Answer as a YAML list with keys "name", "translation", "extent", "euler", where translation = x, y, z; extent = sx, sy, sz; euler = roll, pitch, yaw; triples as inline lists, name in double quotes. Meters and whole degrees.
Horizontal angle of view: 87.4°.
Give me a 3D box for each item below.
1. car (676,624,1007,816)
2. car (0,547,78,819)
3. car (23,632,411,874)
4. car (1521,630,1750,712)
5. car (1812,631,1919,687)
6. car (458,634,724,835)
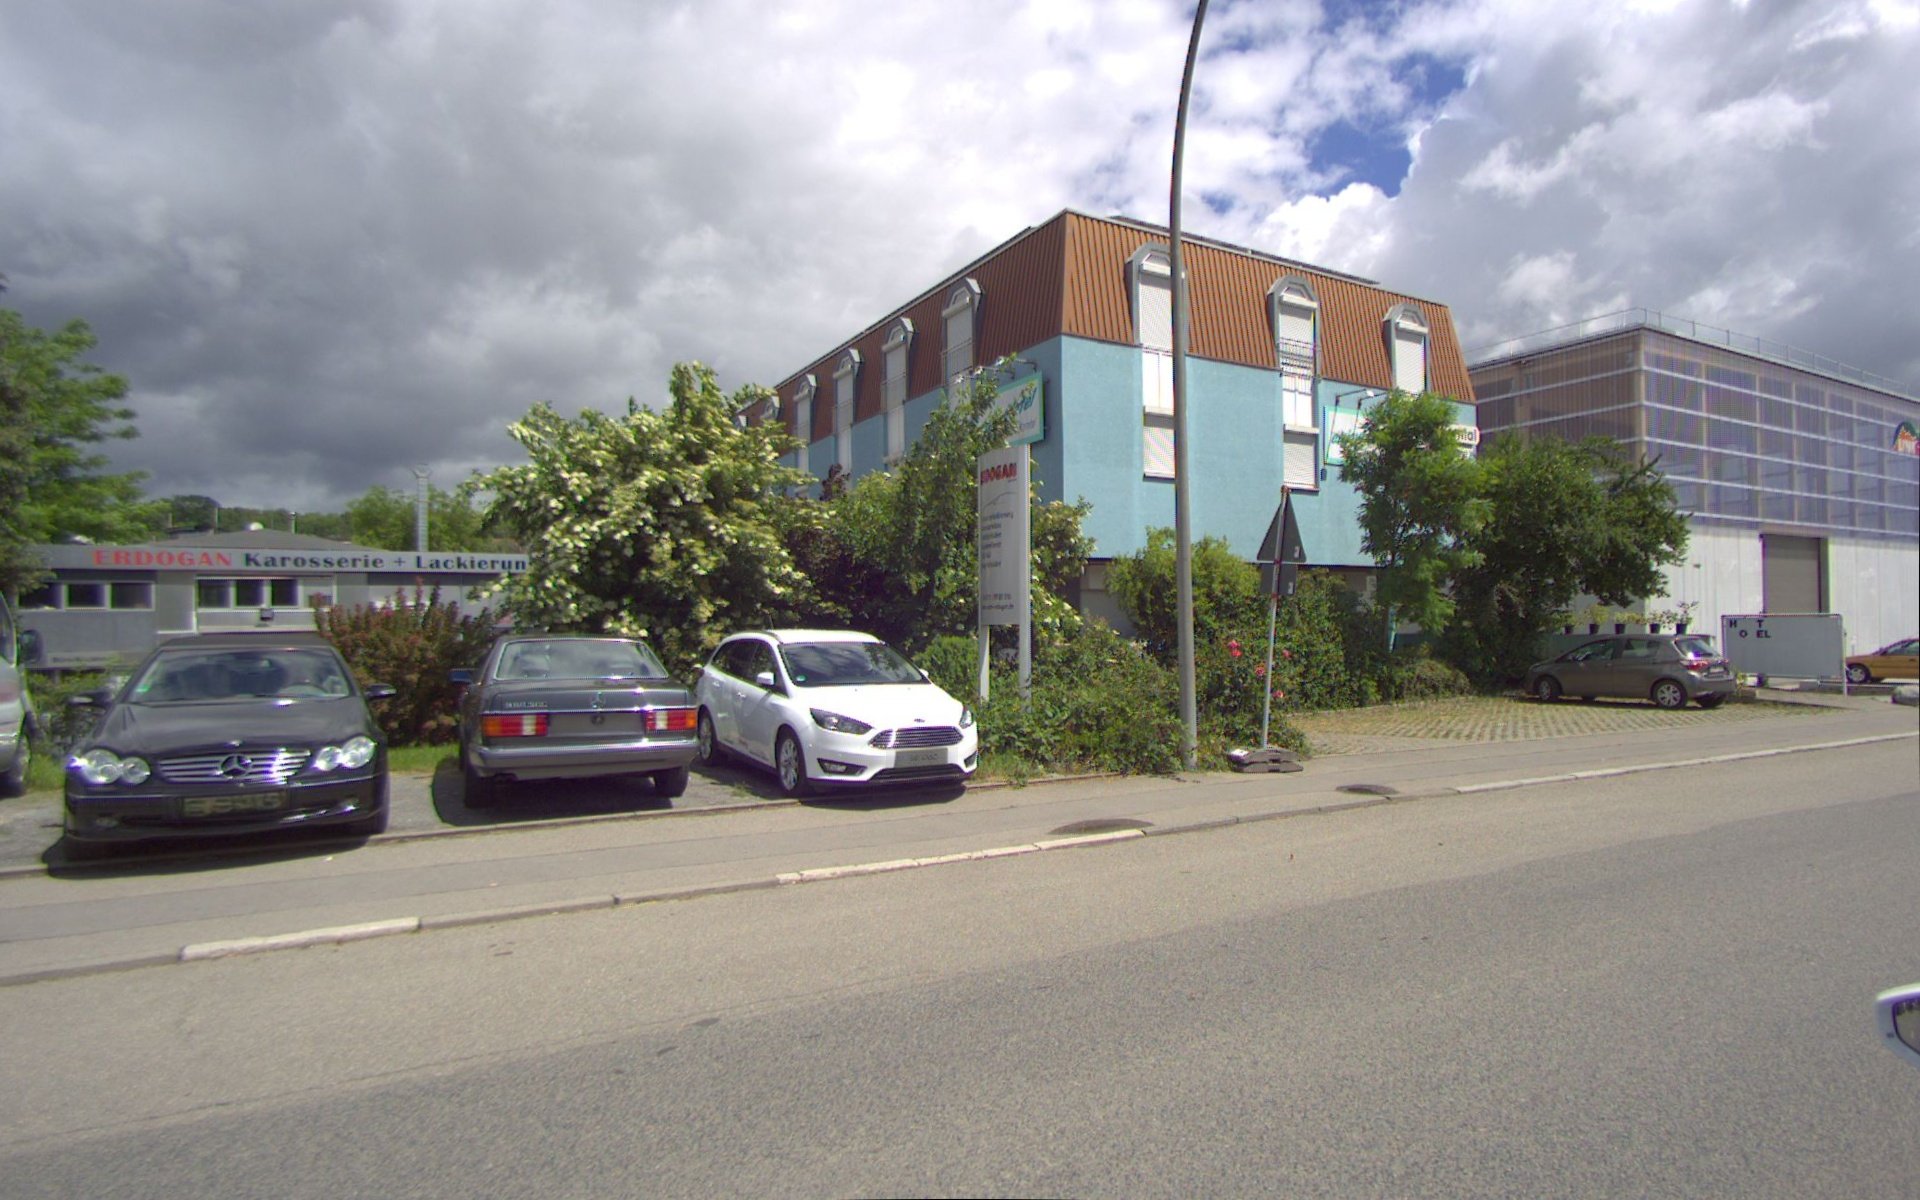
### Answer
- name: "car"
  translation: [-1.446, 1.031, 10.251]
  extent: [1.849, 1.498, 4.356]
  euler: [2, -3, -29]
- name: "car"
  translation: [-8.137, 0.617, 7.139]
  extent: [2.092, 1.998, 4.625]
  euler: [0, -2, -33]
- name: "car"
  translation: [-5.362, 0.919, 7.736]
  extent: [1.850, 1.332, 3.968]
  euler: [2, -2, -31]
- name: "car"
  translation: [14.381, 1.442, 21.588]
  extent: [1.954, 1.553, 3.615]
  euler: [0, -2, -27]
- name: "car"
  translation: [28.474, 1.781, 30.098]
  extent: [1.806, 1.512, 4.126]
  euler: [0, 1, -33]
- name: "car"
  translation: [-3.560, 1.010, 9.204]
  extent: [1.847, 1.373, 3.973]
  euler: [0, -2, -27]
